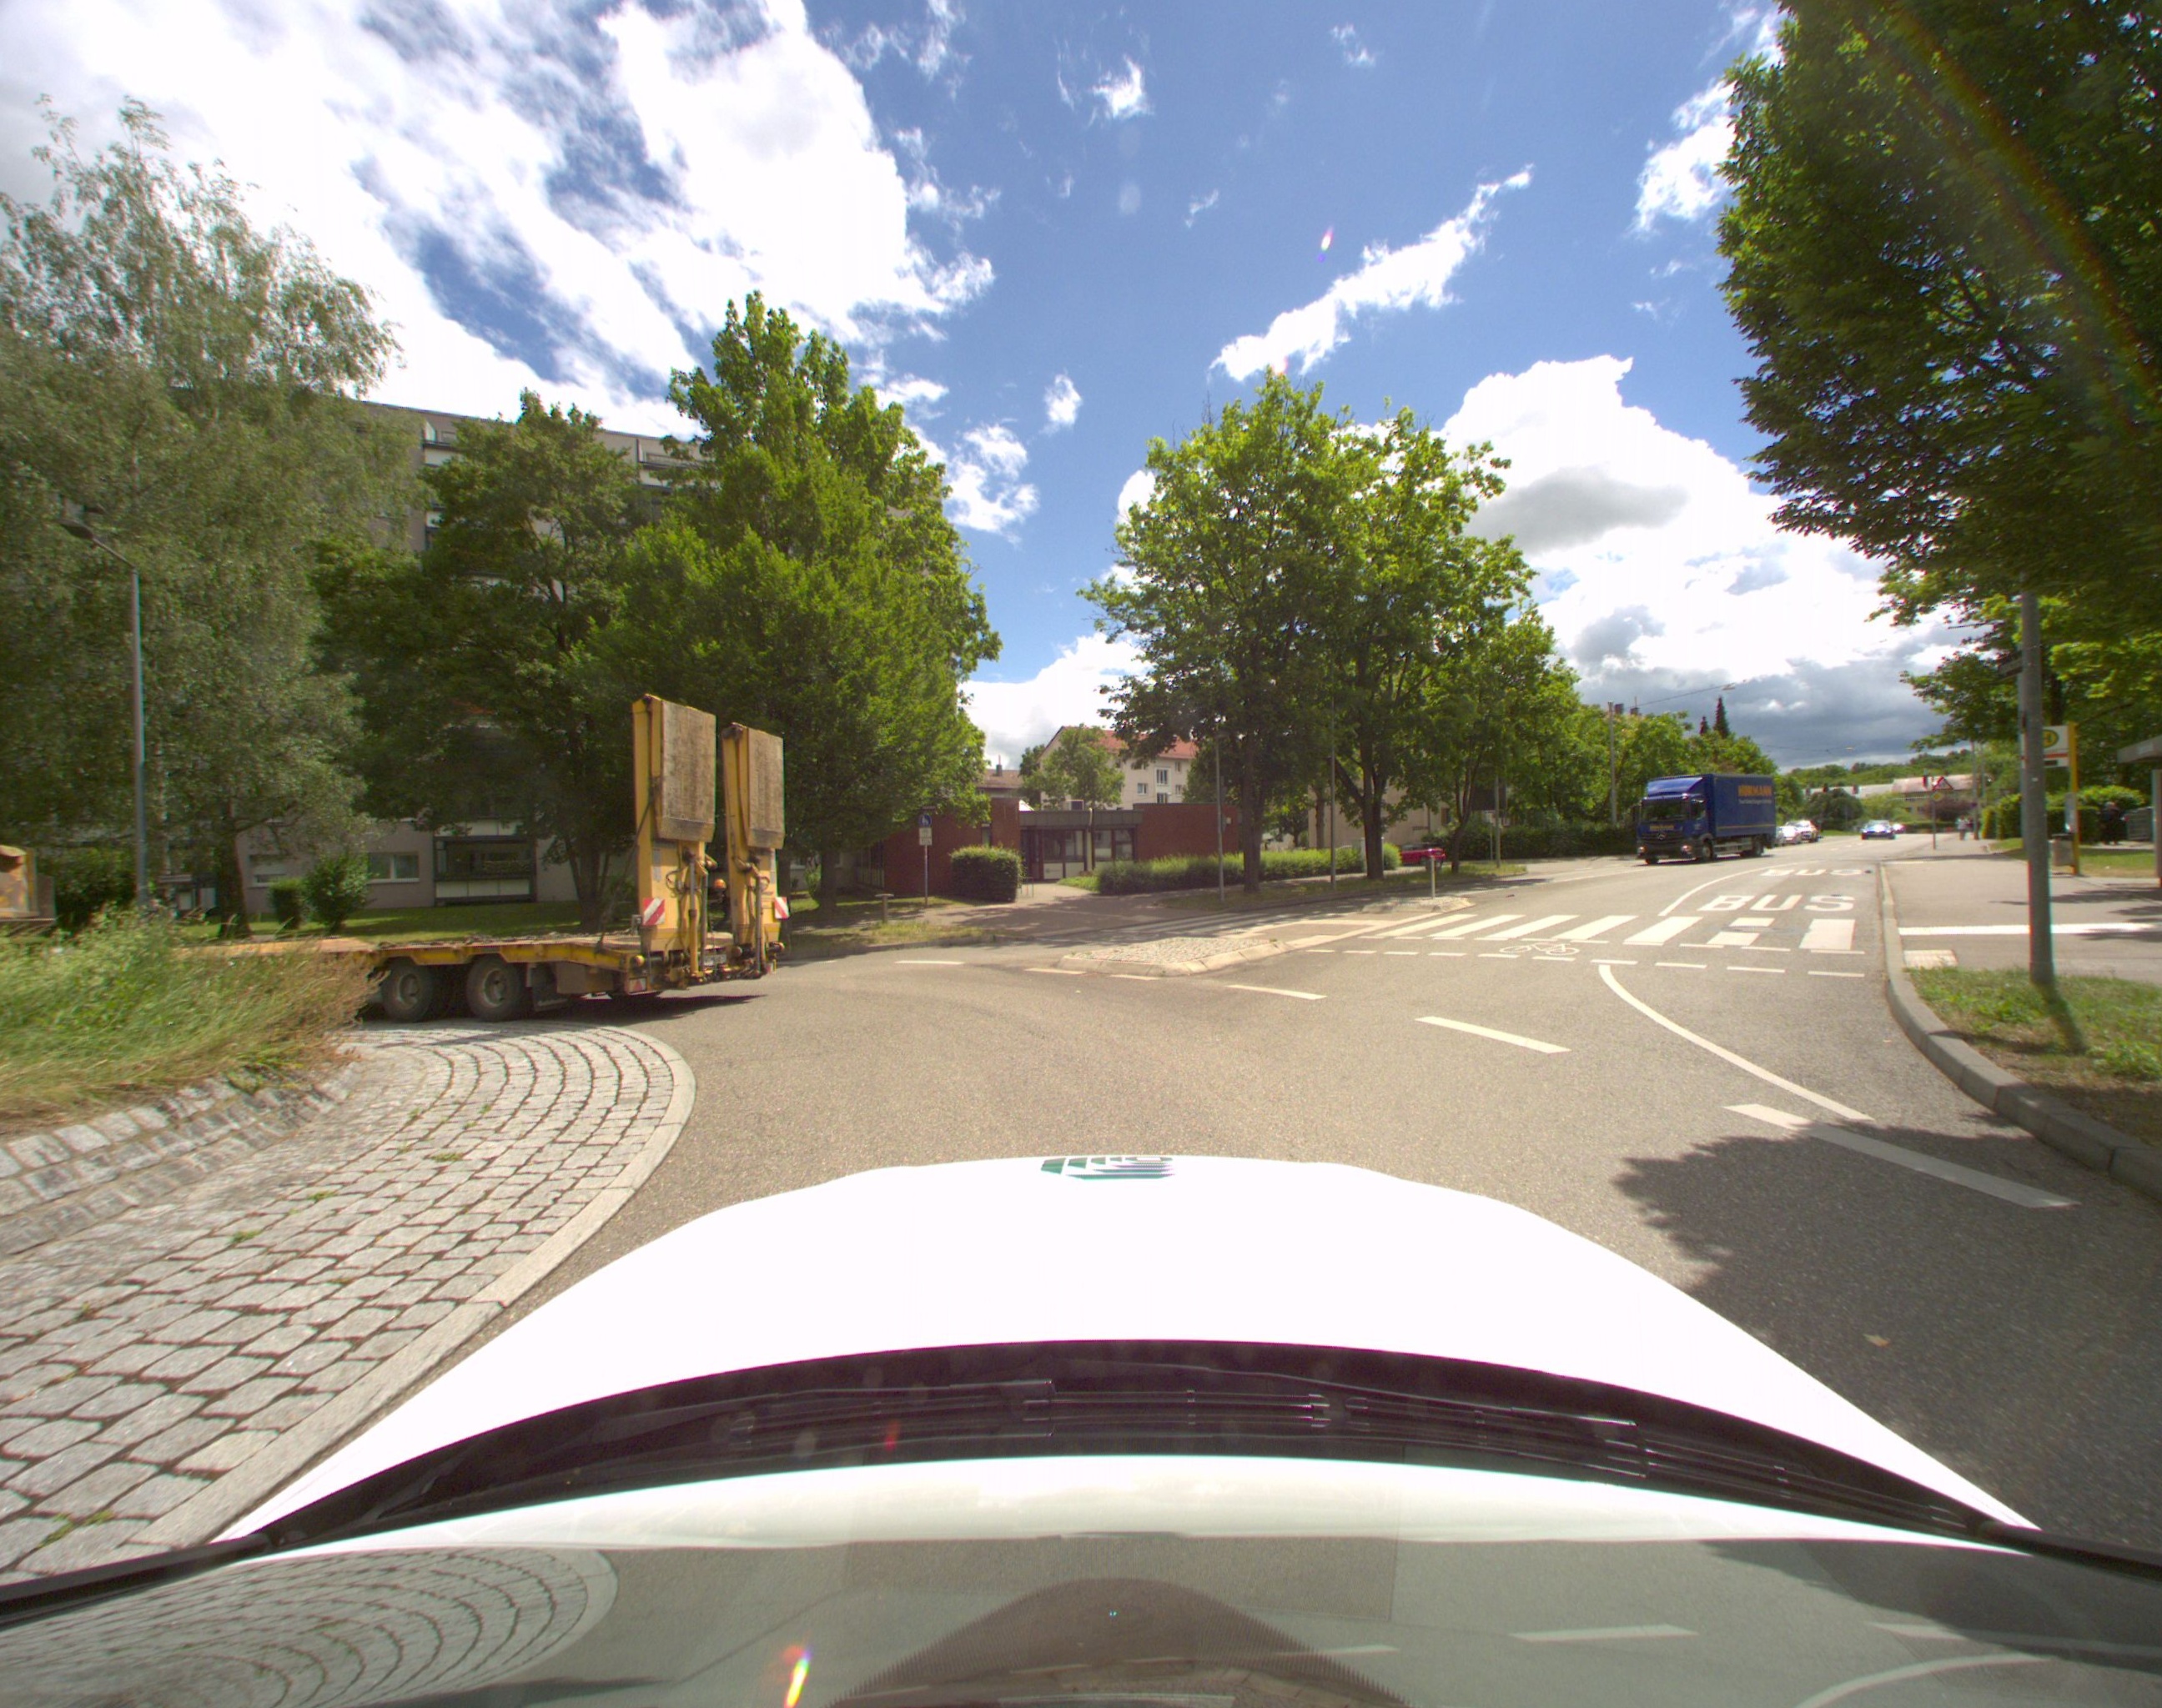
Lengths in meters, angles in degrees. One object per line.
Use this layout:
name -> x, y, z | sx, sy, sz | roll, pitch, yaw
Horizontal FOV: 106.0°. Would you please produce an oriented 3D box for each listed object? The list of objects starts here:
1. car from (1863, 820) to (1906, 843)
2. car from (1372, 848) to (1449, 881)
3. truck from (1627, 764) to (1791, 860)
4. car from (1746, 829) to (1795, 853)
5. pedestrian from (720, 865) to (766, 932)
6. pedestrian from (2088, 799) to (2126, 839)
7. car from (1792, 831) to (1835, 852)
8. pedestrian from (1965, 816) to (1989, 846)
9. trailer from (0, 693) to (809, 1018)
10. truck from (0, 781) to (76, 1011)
car -> 66.269, -1.796, 67.137 | 4.019, 1.781, 1.977 | 0, 0, -38
car -> 20.501, 0.648, 50.745 | 2.027, 1.941, 3.956 | 0, 0, -36
truck -> 30.221, -1.930, 39.015 | 9.830, 4.153, 2.762 | -1, -1, -31
car -> 47.233, -0.891, 55.753 | 4.021, 1.553, 1.976 | 0, 0, -41
pedestrian -> -8.467, 1.094, 20.388 | 0.844, 1.579, 0.714 | -5, 1, -31
pedestrian -> 42.489, -1.436, 33.731 | 0.663, 1.581, 0.894 | -3, 0, -32
car -> 56.800, -0.951, 63.131 | 4.021, 1.553, 1.976 | 0, 0, -41
pedestrian -> 61.464, -1.585, 55.868 | 1.048, 2.013, 1.012 | -3, 0, -42
trailer -> -9.331, -0.003, 11.173 | 10.726, 3.372, 2.885 | 0, 1, 14
truck -> -18.193, 0.676, 8.902 | 8.523, 3.034, 2.964 | -2, 0, -36
